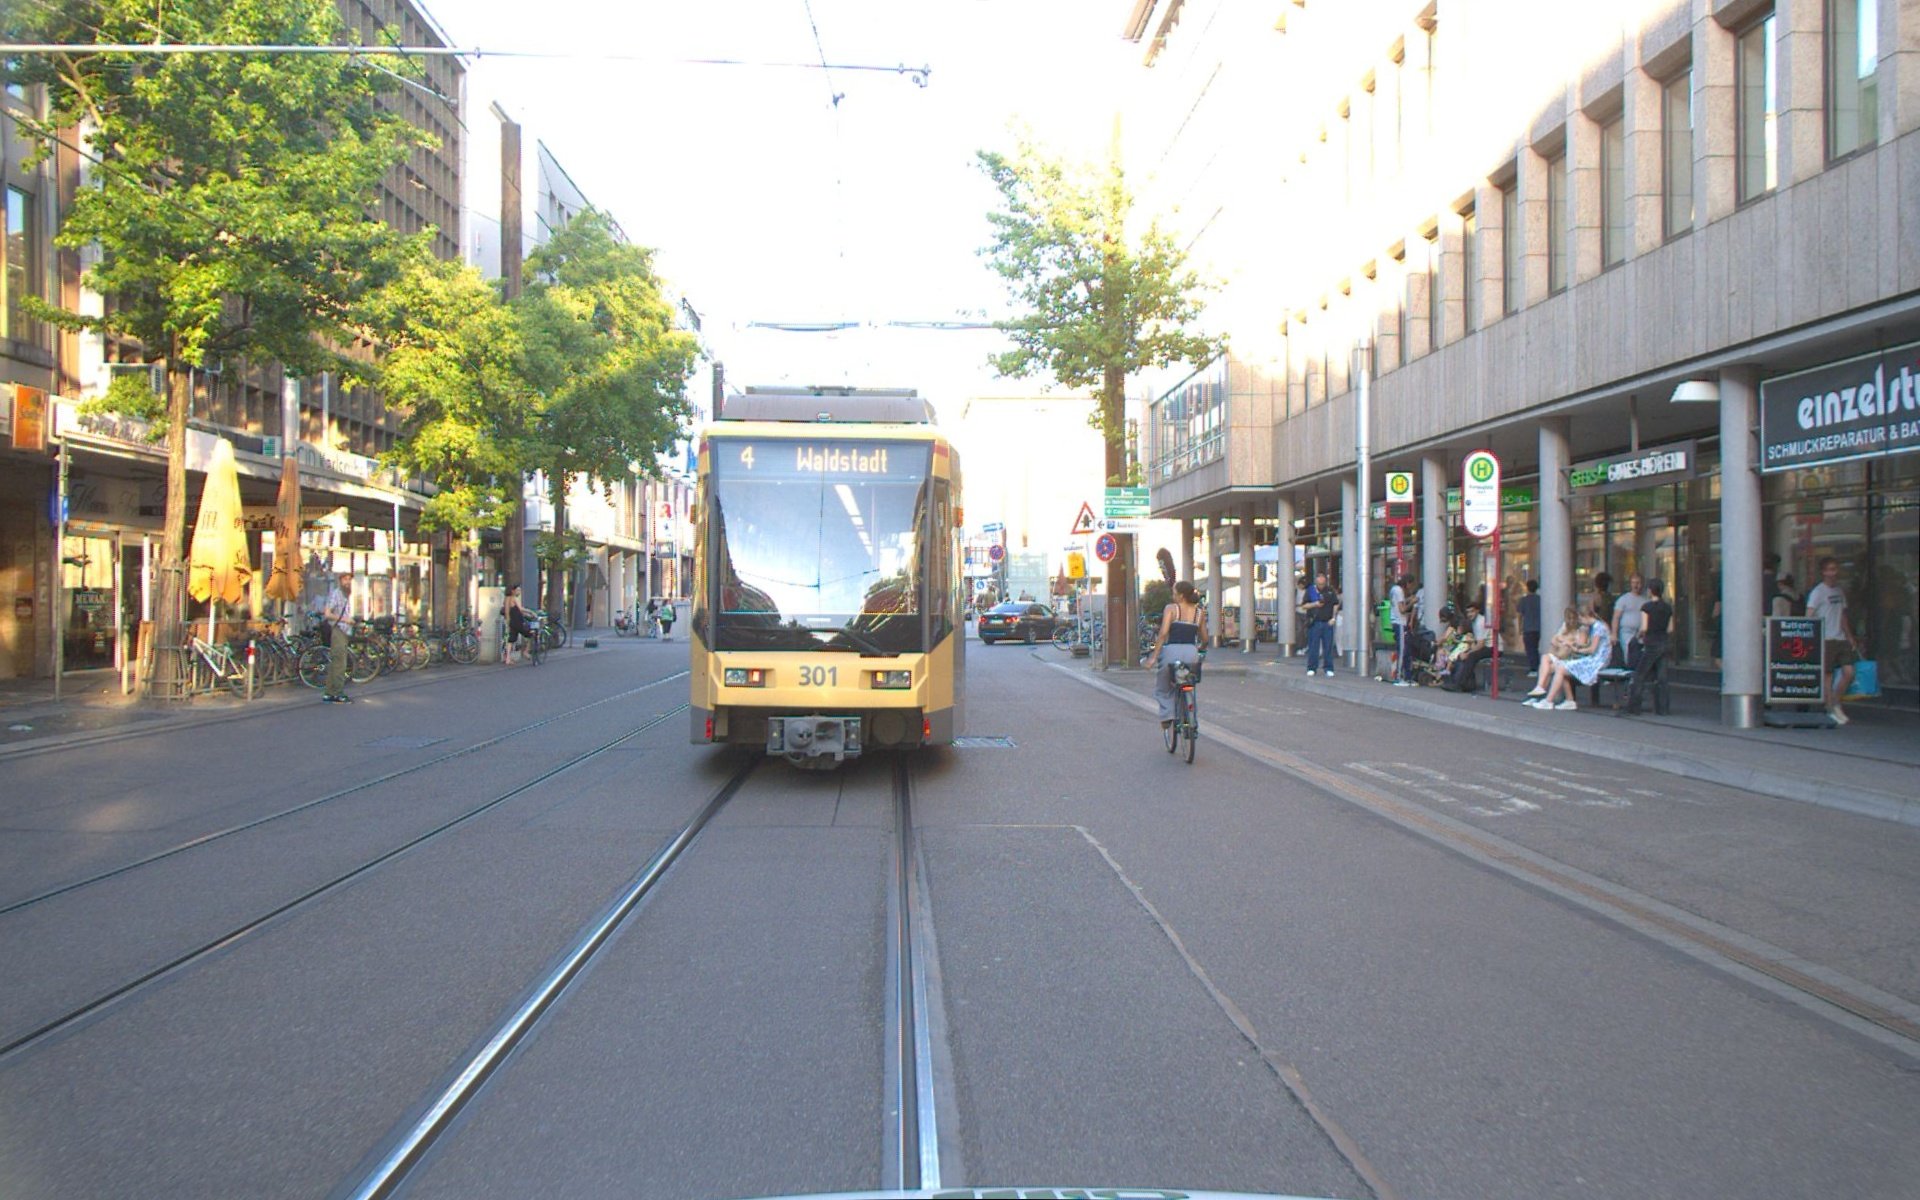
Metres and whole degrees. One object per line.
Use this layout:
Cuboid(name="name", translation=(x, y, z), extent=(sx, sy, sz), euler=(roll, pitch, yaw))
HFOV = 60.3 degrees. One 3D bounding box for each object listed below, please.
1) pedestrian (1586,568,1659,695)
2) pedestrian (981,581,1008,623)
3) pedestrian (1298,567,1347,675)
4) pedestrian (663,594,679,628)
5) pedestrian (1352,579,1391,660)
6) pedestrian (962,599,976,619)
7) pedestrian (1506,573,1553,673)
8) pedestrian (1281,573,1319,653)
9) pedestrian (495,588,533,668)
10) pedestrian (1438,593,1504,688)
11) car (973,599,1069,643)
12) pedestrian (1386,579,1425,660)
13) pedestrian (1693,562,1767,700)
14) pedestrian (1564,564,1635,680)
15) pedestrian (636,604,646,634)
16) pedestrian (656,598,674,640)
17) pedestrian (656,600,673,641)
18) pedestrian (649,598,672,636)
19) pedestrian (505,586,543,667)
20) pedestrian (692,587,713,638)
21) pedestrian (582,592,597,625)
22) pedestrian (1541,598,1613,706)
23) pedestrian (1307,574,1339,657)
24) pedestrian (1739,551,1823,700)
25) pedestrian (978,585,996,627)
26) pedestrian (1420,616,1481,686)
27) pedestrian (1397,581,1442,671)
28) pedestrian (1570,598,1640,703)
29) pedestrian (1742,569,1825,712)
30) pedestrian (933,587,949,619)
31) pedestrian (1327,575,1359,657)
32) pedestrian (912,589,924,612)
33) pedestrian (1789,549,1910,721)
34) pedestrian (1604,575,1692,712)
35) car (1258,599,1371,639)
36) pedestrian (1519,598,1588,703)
Cuboid(name="pedestrian", translation=(9.072, 0.426, 22.671), extent=(0.673, 1.690, 0.722), euler=(-1, -1, -1))
Cuboid(name="pedestrian", translation=(1.618, 0.098, 77.006), extent=(0.997, 1.896, 1.038), euler=(1, -1, -17))
Cuboid(name="pedestrian", translation=(6.437, 0.371, 29.412), extent=(0.655, 1.872, 0.708), euler=(-1, 0, -3))
Cuboid(name="pedestrian", translation=(-15.127, 0.568, 86.586), extent=(0.699, 1.756, 0.709), euler=(0, -1, -4))
Cuboid(name="pedestrian", translation=(9.404, 0.447, 37.816), extent=(0.649, 1.818, 0.719), euler=(-1, -1, -2))
Cuboid(name="pedestrian", translation=(0.537, 0.534, 101.084), extent=(0.777, 1.243, 0.768), euler=(0, 0, -6))
Cuboid(name="pedestrian", translation=(10.151, 0.404, 29.494), extent=(0.559, 1.762, 0.617), euler=(-1, 0, -3))
Cuboid(name="pedestrian", translation=(8.041, 0.311, 39.170), extent=(0.655, 1.872, 0.879), euler=(-1, 0, -2))
Cuboid(name="pedestrian", translation=(-9.846, 0.610, 36.523), extent=(0.589, 1.729, 0.535), euler=(1, 0, 27))
Cuboid(name="pedestrian", translation=(7.676, 0.599, 24.864), extent=(0.796, 1.405, 0.662), euler=(0, -1, -1))
Cuboid(name="car", translation=(2.120, 0.720, 56.344), extent=(1.735, 1.434, 4.047), euler=(0, -1, 27))
Cuboid(name="pedestrian", translation=(10.176, 0.448, 37.766), extent=(0.649, 1.818, 0.719), euler=(-1, -1, -2))
Cuboid(name="pedestrian", translation=(10.210, 0.403, 21.946), extent=(0.570, 1.783, 0.773), euler=(-1, 0, -3))
Cuboid(name="pedestrian", translation=(10.168, 0.342, 26.316), extent=(0.757, 1.803, 0.773), euler=(-1, -1, -3))
Cuboid(name="pedestrian", translation=(-16.869, 1.016, 87.378), extent=(0.499, 1.574, 0.516), euler=(0, -1, -10))
Cuboid(name="pedestrian", translation=(-11.069, 0.717, 62.065), extent=(0.672, 1.569, 0.604), euler=(0, -1, -10))
Cuboid(name="pedestrian", translation=(-10.957, 0.753, 61.373), extent=(0.592, 1.520, 0.554), euler=(0, -1, -10))
Cuboid(name="pedestrian", translation=(-11.770, 0.661, 64.964), extent=(0.544, 1.459, 0.682), euler=(-1, -1, 35))
Cuboid(name="pedestrian", translation=(-9.506, 0.568, 36.064), extent=(0.589, 1.729, 0.535), euler=(1, 0, 27))
Cuboid(name="pedestrian", translation=(-9.967, 0.498, 64.018), extent=(0.759, 1.960, 0.708), euler=(0, -1, -10))
Cuboid(name="pedestrian", translation=(-19.941, 0.442, 88.977), extent=(0.699, 1.756, 0.709), euler=(0, -1, -4))
Cuboid(name="pedestrian", translation=(7.773, 0.643, 20.848), extent=(0.703, 1.337, 0.524), euler=(0, -1, -1))
Cuboid(name="pedestrian", translation=(8.202, 0.347, 37.412), extent=(0.528, 1.838, 0.604), euler=(-1, 0, -3))
Cuboid(name="pedestrian", translation=(10.861, 0.331, 21.907), extent=(0.673, 1.915, 0.773), euler=(-1, 0, -3))
Cuboid(name="pedestrian", translation=(1.138, 0.258, 68.709), extent=(0.703, 1.756, 0.709), euler=(0, -1, -2))
Cuboid(name="pedestrian", translation=(7.630, 0.792, 25.748), extent=(0.796, 1.061, 0.544), euler=(0, -1, -1))
Cuboid(name="pedestrian", translation=(8.705, 0.487, 31.345), extent=(0.635, 1.690, 0.650), euler=(-1, 0, -2))
Cuboid(name="pedestrian", translation=(8.387, 0.651, 21.519), extent=(0.703, 1.337, 0.532), euler=(0, -1, -1))
Cuboid(name="pedestrian", translation=(10.036, 0.484, 20.174), extent=(0.635, 1.690, 0.680), euler=(-1, 0, -1))
Cuboid(name="pedestrian", translation=(-1.129, 0.178, 97.860), extent=(0.722, 1.855, 0.816), euler=(0, 0, -17))
Cuboid(name="pedestrian", translation=(8.719, 0.352, 37.632), extent=(0.528, 1.838, 0.604), euler=(-1, 0, -3))
Cuboid(name="pedestrian", translation=(-2.990, 0.030, 117.613), extent=(0.750, 1.690, 0.795), euler=(0, 0, 10))
Cuboid(name="pedestrian", translation=(9.818, 0.378, 18.290), extent=(0.827, 1.829, 0.858), euler=(-1, 0, -2))
Cuboid(name="pedestrian", translation=(8.253, 0.510, 19.859), extent=(0.709, 1.597, 0.736), euler=(-1, 0, 0))
Cuboid(name="car", translation=(12.975, 0.698, 60.683), extent=(3.808, 1.434, 1.775), euler=(0, -1, 1))
Cuboid(name="pedestrian", translation=(7.666, 0.645, 21.378), extent=(0.703, 1.337, 0.532), euler=(0, -1, -1))
